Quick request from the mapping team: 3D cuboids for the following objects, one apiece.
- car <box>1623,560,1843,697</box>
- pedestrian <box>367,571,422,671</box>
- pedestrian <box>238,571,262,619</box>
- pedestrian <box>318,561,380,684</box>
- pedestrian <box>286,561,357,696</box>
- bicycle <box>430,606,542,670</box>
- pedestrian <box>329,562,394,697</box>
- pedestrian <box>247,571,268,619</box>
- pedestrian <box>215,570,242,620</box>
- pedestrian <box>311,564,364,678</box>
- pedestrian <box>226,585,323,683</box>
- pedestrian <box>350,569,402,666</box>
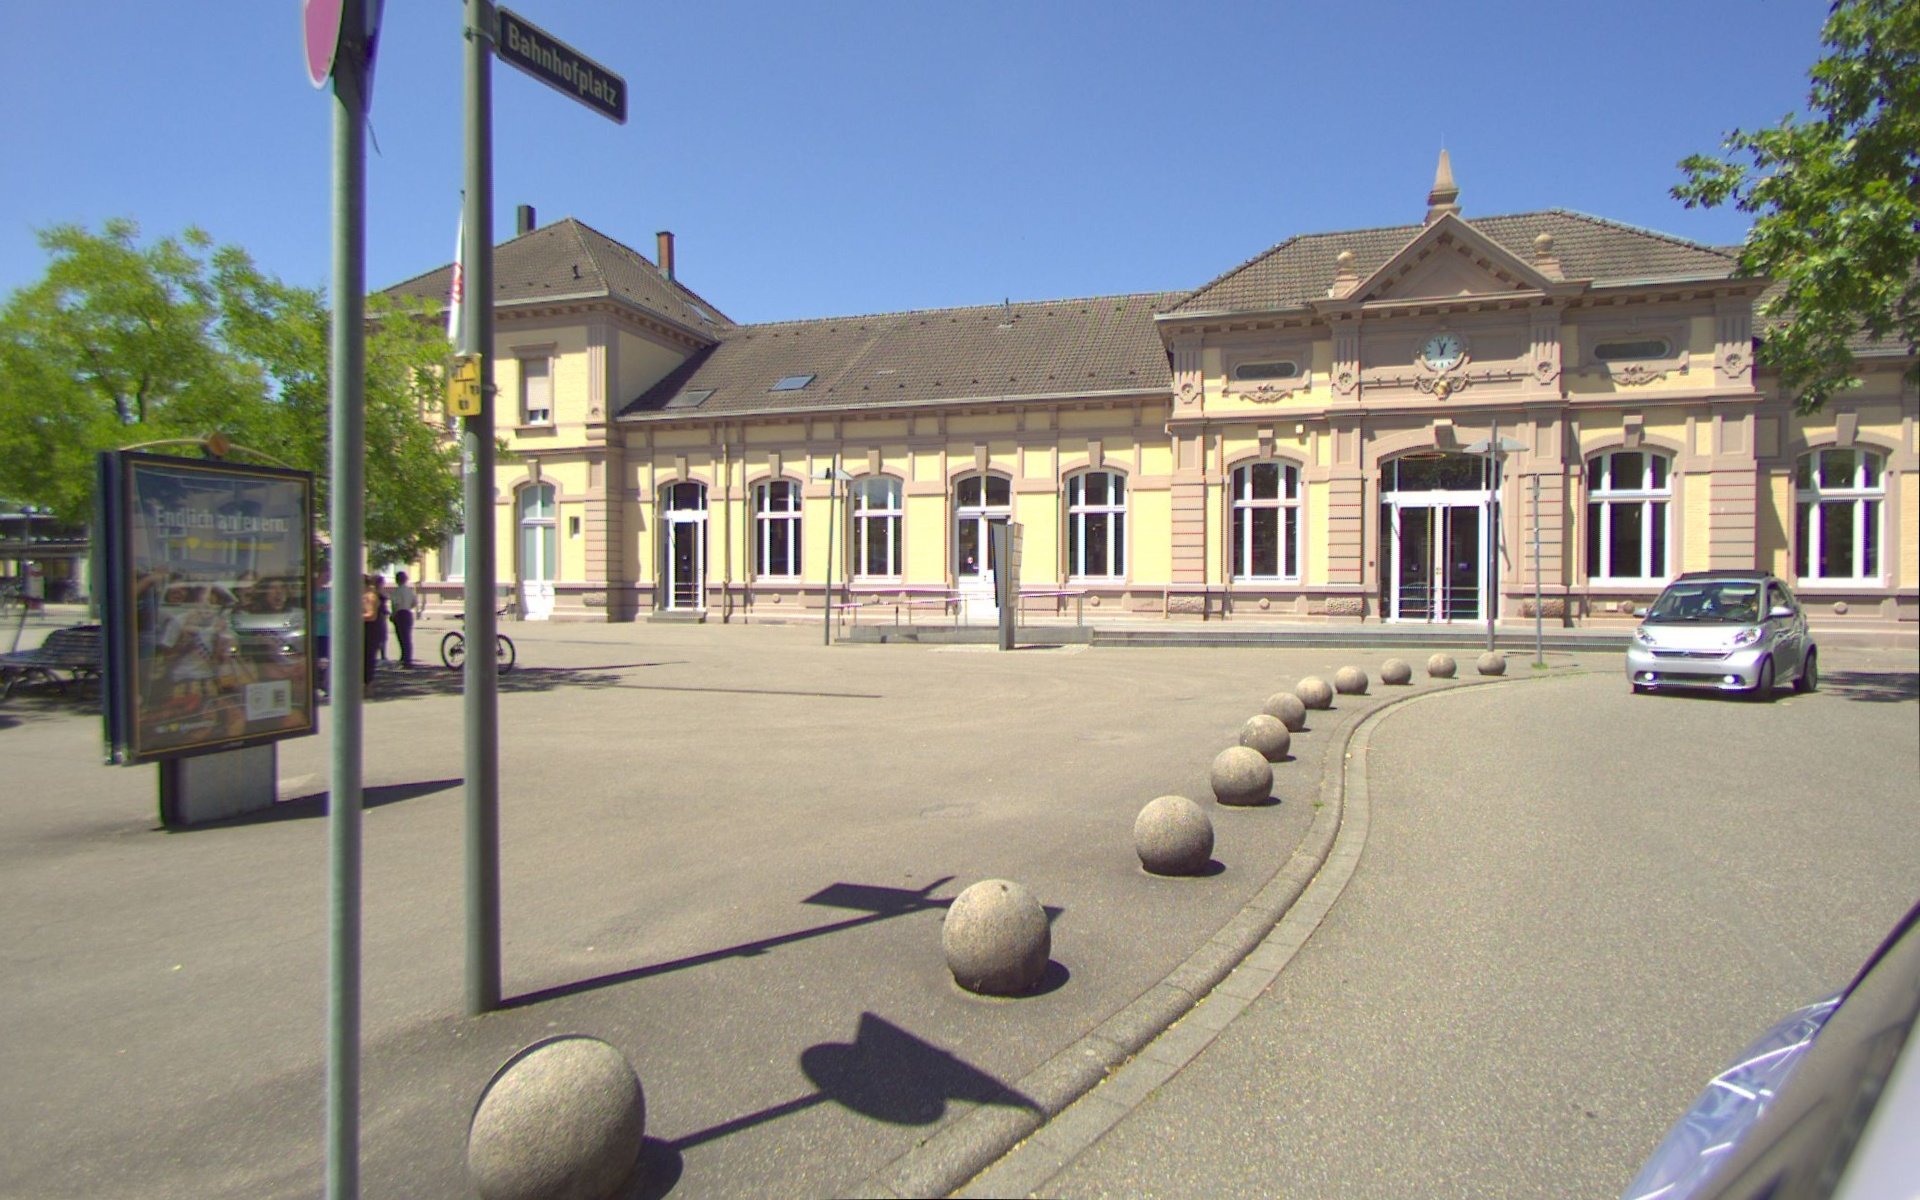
[{"bbox_3d":[10.290,0.301,13.427,3.049,1.613,1.601,-1,1,-38],"label":"car"},{"bbox_3d":[-9.771,0.349,17.510,0.580,1.706,0.618,0,0,5],"label":"pedestrian"},{"bbox_3d":[-27.097,-0.194,38.624,0.593,1.832,0.623,0,1,38],"label":"pedestrian"},{"bbox_3d":[-8.967,0.321,14.861,0.587,1.761,0.586,0,0,-8],"label":"pedestrian"},{"bbox_3d":[-8.675,0.368,13.775,0.573,1.786,0.694,0,1,-8],"label":"pedestrian"},{"bbox_3d":[-8.161,0.644,17.417,1.921,1.073,0.419,0,0,16],"label":"bicycle"},{"bbox_3d":[-8.045,0.380,13.617,0.537,1.761,0.628,0,0,-8],"label":"pedestrian"},{"bbox_3d":[-27.329,-0.189,39.348,0.495,1.832,0.544,0,1,38],"label":"pedestrian"},{"bbox_3d":[-27.516,-0.195,38.080,0.628,1.832,0.681,0,1,39],"label":"pedestrian"},{"bbox_3d":[-9.821,0.314,15.973,0.559,1.761,0.513,0,0,-12],"label":"pedestrian"},{"bbox_3d":[-10.231,0.481,15.143,0.924,1.403,0.914,0,1,-12],"label":"pedestrian"},{"bbox_3d":[-10.368,0.301,17.974,0.577,1.706,0.554,0,0,5],"label":"pedestrian"}]
